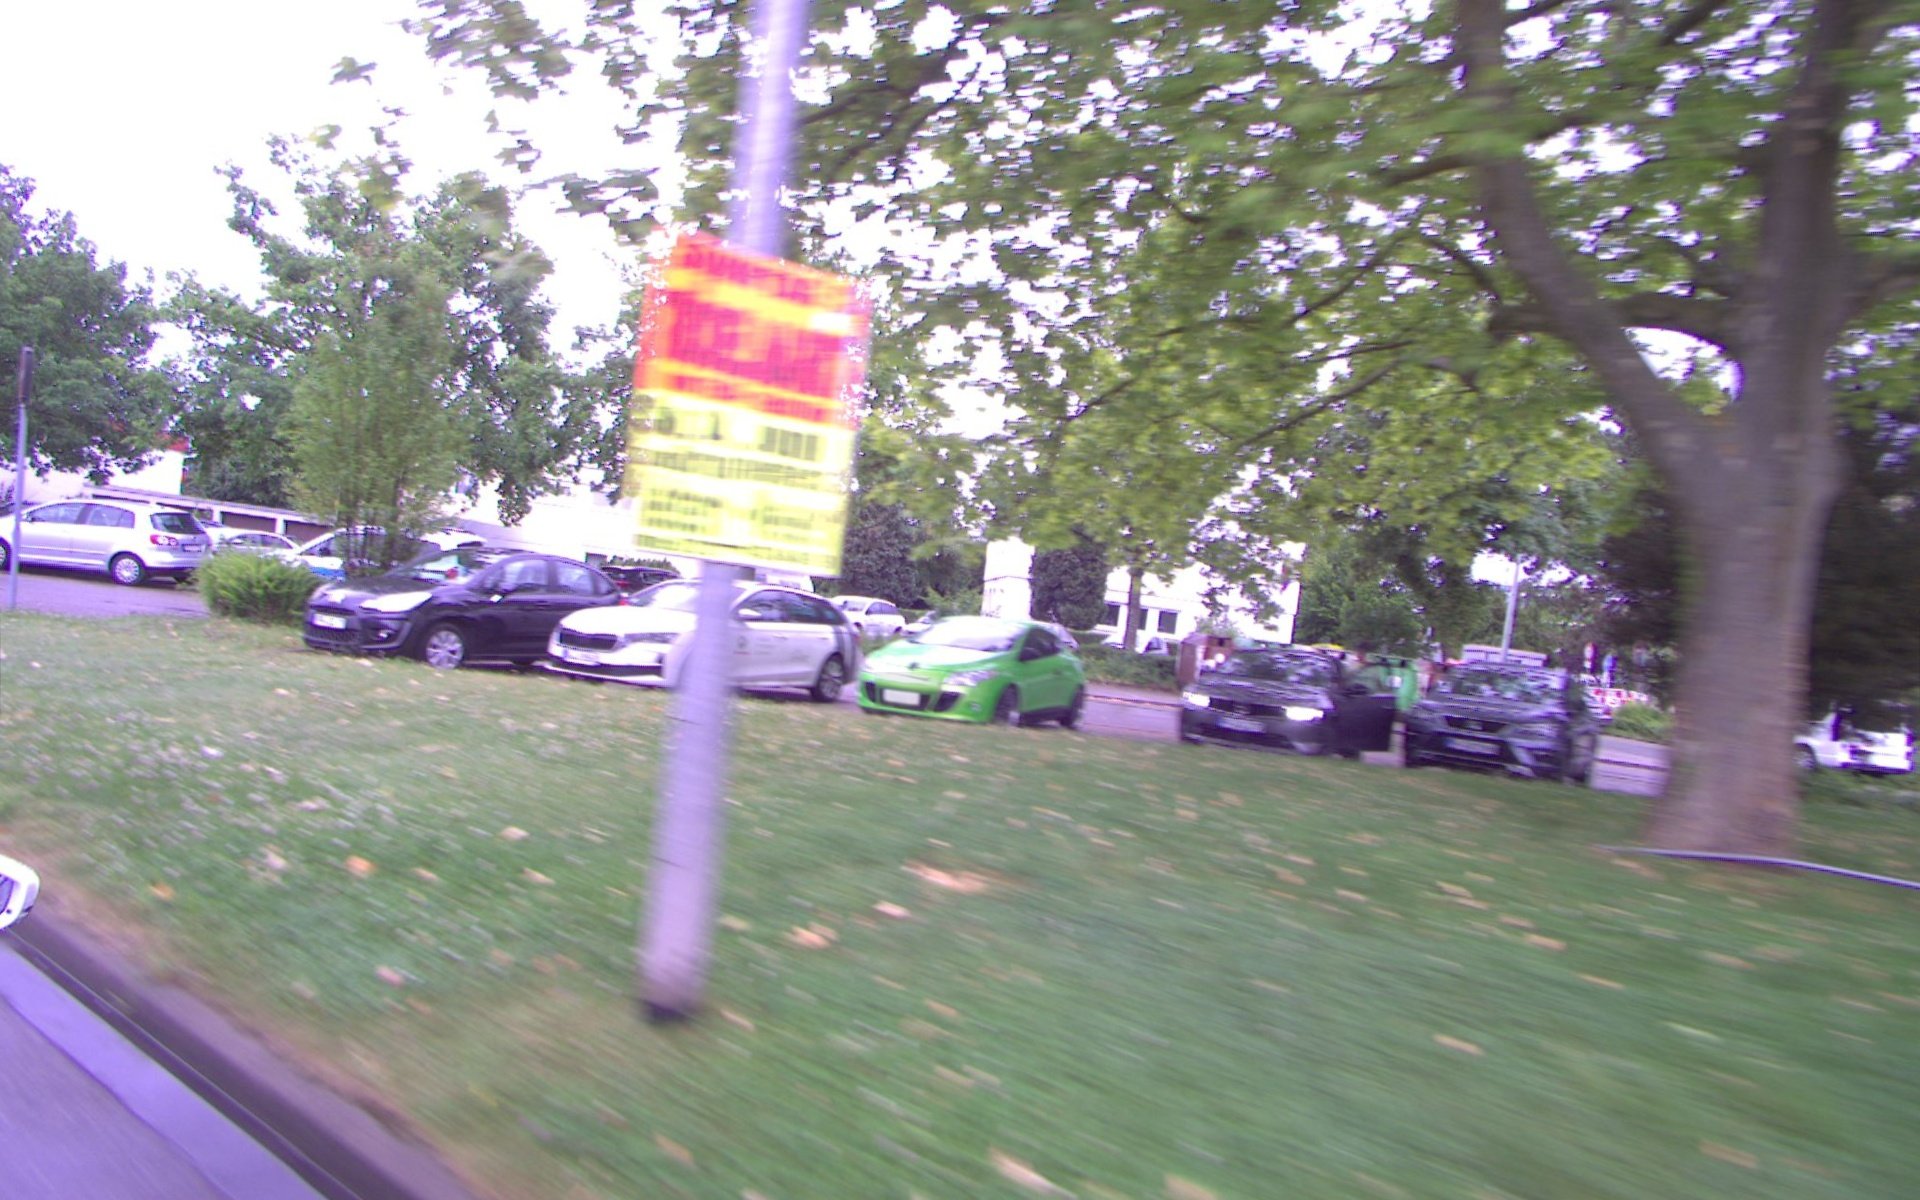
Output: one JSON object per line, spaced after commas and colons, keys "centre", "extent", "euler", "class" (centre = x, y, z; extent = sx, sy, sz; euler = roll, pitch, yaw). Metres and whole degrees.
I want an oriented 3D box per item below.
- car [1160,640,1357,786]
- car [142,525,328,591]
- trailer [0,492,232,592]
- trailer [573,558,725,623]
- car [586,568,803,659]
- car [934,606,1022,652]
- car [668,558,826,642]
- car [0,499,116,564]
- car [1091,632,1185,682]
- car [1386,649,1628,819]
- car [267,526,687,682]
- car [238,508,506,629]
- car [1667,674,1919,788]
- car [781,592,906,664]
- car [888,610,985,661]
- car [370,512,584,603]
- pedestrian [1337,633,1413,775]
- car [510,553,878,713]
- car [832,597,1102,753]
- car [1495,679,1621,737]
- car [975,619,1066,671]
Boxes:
{"centre": [4.009, 1.335, 13.024], "extent": [1.733, 1.388, 4.019], "euler": [6, 0, 25], "class": "car"}
{"centre": [-20.361, -1.138, 28.491], "extent": [1.701, 1.353, 4.046], "euler": [6, -1, 14], "class": "car"}
{"centre": [-17.780, -1.209, 20.440], "extent": [4.345, 1.562, 1.999], "euler": [6, 0, -3], "class": "trailer"}
{"centre": [-8.967, -0.231, 29.307], "extent": [1.684, 1.454, 3.992], "euler": [6, -1, 32], "class": "trailer"}
{"centre": [-5.551, 0.299, 21.449], "extent": [4.112, 1.399, 1.765], "euler": [7, 0, -4], "class": "car"}
{"centre": [0.800, 1.255, 43.186], "extent": [1.674, 1.548, 3.634], "euler": [6, -1, 43], "class": "car"}
{"centre": [-6.101, 0.076, 29.486], "extent": [1.964, 2.039, 4.761], "euler": [6, 0, 24], "class": "car"}
{"centre": [-25.976, -1.973, 27.771], "extent": [1.727, 1.504, 3.658], "euler": [6, -1, 20], "class": "car"}
{"centre": [5.559, 1.785, 31.173], "extent": [1.560, 1.245, 3.289], "euler": [6, -1, 35], "class": "car"}
{"centre": [7.215, 1.635, 13.038], "extent": [1.740, 1.647, 4.273], "euler": [6, 0, 41], "class": "car"}
{"centre": [-5.690, 0.133, 12.583], "extent": [1.733, 1.461, 4.583], "euler": [6, 0, 25], "class": "car"}
{"centre": [-11.885, -0.593, 20.553], "extent": [4.134, 1.904, 2.000], "euler": [6, 0, 0], "class": "car"}
{"centre": [20.711, 3.164, 25.308], "extent": [2.048, 2.038, 4.996], "euler": [7, -1, -2], "class": "car"}
{"centre": [-3.364, 0.867, 29.843], "extent": [1.792, 1.796, 3.900], "euler": [6, 0, 24], "class": "car"}
{"centre": [-0.638, 1.077, 29.565], "extent": [1.556, 1.245, 3.298], "euler": [6, -1, 22], "class": "car"}
{"centre": [-13.994, -1.156, 29.682], "extent": [1.963, 2.039, 5.838], "euler": [6, 0, 21], "class": "car"}
{"centre": [5.235, 1.298, 12.678], "extent": [0.578, 1.672, 0.738], "euler": [7, 1, 34], "class": "pedestrian"}
{"centre": [-2.970, 0.431, 12.395], "extent": [1.733, 1.461, 4.583], "euler": [6, 0, 25], "class": "car"}
{"centre": [0.279, 0.888, 12.653], "extent": [1.733, 1.461, 4.019], "euler": [6, 0, 25], "class": "car"}
{"centre": [20.180, 3.610, 34.166], "extent": [1.725, 1.384, 4.000], "euler": [7, -1, -1], "class": "car"}
{"centre": [1.800, 1.325, 29.068], "extent": [1.556, 1.245, 3.298], "euler": [6, -1, 22], "class": "car"}
